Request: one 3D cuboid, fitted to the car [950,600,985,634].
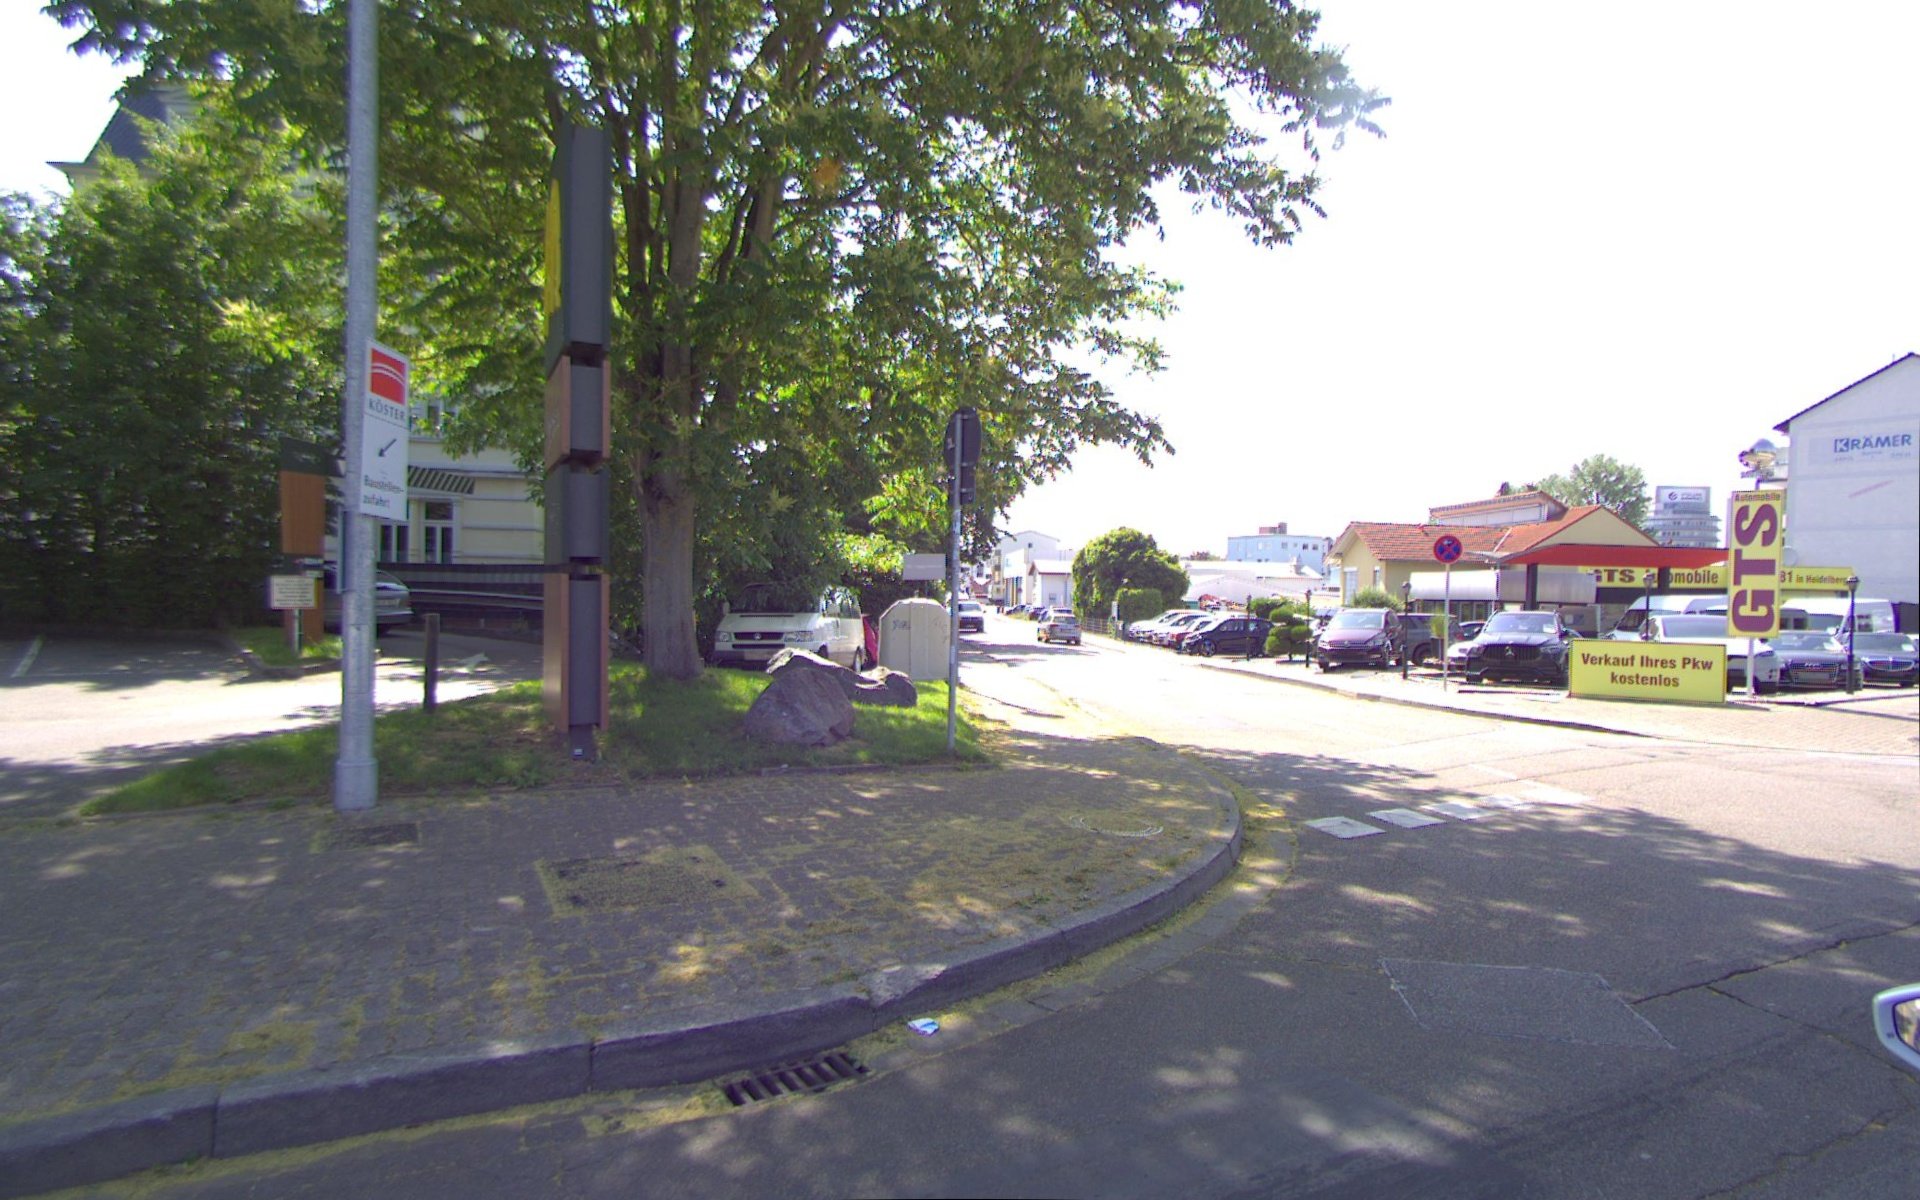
[{"bbox_3d":[0.478,1.111,65.307,2.001,2.084,3.999,1,-1,-3],"label":"car"}]

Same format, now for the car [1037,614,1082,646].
[{"bbox_3d":[4.993,1.491,50.871,1.650,1.513,4.605,1,0,-2],"label":"car"}]

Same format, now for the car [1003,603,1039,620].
[{"bbox_3d":[6.816,1.300,112.631,3.767,1.787,1.782,2,0,-2],"label":"car"}]

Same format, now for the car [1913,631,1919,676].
[{"bbox_3d":[32.540,1.758,32.302,1.642,1.492,3.995,-1,-2,27],"label":"car"}]

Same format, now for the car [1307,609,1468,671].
[{"bbox_3d":[14.273,1.305,33.845,4.796,1.867,2.163,1,0,21],"label":"car"}]

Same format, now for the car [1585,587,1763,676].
[{"bbox_3d":[24.420,1.092,34.307,6.070,2.794,2.270,2,-1,-25],"label":"car"}]

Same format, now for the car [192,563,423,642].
[{"bbox_3d":[-13.369,-0.001,20.589,4.300,1.423,1.714,2,3,20],"label":"car"}]

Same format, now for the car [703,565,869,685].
[{"bbox_3d":[-3.057,0.525,18.684,1.854,1.945,4.529,-1,-3,6],"label":"car"}]

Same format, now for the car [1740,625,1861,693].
[{"bbox_3d":[20.065,1.373,24.138,1.811,1.492,3.988,-1,-2,34],"label":"car"}]

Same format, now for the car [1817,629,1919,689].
[{"bbox_3d":[24.655,1.550,27.148,1.812,1.492,3.988,-1,-2,34],"label":"car"}]

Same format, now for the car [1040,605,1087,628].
[{"bbox_3d":[8.895,1.399,86.487,3.767,1.787,1.855,2,0,-2],"label":"car"}]

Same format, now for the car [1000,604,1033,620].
[{"bbox_3d":[6.903,1.422,123.054,3.798,1.787,1.823,2,0,-2],"label":"car"}]

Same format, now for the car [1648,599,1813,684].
[{"bbox_3d":[23.547,1.267,30.682,4.764,2.381,2.237,3,-1,-28],"label":"car"}]

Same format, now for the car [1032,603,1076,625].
[{"bbox_3d":[8.595,1.275,92.309,3.767,1.787,1.782,2,0,-2],"label":"car"}]

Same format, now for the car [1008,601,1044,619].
[{"bbox_3d":[7.174,1.099,109.443,3.767,1.787,1.782,2,0,-2],"label":"car"}]

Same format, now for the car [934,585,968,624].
[{"bbox_3d":[-0.886,0.438,92.031,2.761,3.361,7.779,1,0,-3],"label":"car"}]

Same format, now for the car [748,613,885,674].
[{"bbox_3d":[-3.744,1.123,26.554,3.339,1.485,1.694,-1,0,1],"label":"car"}]

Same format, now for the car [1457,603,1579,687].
[{"bbox_3d":[12.991,1.031,23.265,2.015,1.729,4.302,1,-2,35],"label":"car"}]

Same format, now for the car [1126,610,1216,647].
[{"bbox_3d":[10.735,1.437,51.315,4.093,1.773,1.890,1,0,-6],"label":"car"}]

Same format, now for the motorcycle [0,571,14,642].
[{"bbox_3d":[-16.863,0.068,17.253,2.149,1.147,0.567,3,2,38],"label":"motorcycle"}]

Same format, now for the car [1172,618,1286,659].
[{"bbox_3d":[10.852,1.554,40.738,4.055,1.508,1.868,2,0,-6],"label":"car"}]

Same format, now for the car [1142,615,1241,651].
[{"bbox_3d":[10.590,1.499,46.186,4.042,1.508,1.868,2,0,-6],"label":"car"}]

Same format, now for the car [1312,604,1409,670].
[{"bbox_3d":[11.306,1.006,28.178,1.779,1.678,4.304,0,-1,32],"label":"car"}]

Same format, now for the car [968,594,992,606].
[{"bbox_3d":[3.605,0.035,180.531,3.928,1.935,1.811,2,1,-10],"label":"car"}]

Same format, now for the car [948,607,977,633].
[{"bbox_3d":[0.156,1.388,70.071,1.802,1.714,3.999,1,0,-3],"label":"car"}]

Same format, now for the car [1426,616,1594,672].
[{"bbox_3d":[16.768,1.336,30.652,4.615,1.596,1.906,1,0,-19],"label":"car"}]

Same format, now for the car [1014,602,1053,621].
[{"bbox_3d":[7.624,1.217,104.159,3.767,1.787,1.782,2,0,-2],"label":"car"}]

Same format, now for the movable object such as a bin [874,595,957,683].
[{"bbox_3d":[-0.868,0.717,18.884,1.428,1.546,1.774,-1,-1,-7],"label":"movable object such as a bin"}]

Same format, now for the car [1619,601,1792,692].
[{"bbox_3d":[15.896,1.034,21.716,1.944,1.729,4.663,0,-4,23],"label":"car"}]

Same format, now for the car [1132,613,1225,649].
[{"bbox_3d":[10.573,1.491,48.766,4.047,1.624,1.868,2,0,-6],"label":"car"}]

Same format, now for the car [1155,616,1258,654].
[{"bbox_3d":[10.722,1.497,43.834,3.982,1.508,1.797,2,0,-6],"label":"car"}]

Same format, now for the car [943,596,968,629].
[{"bbox_3d":[-0.379,1.011,80.504,1.802,2.537,3.999,1,0,-3],"label":"car"}]

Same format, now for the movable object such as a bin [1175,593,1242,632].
[{"bbox_3d":[19.644,0.979,79.507,4.738,2.945,2.000,1,0,0],"label":"movable object such as a bin"}]

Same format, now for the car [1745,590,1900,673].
[{"bbox_3d":[29.217,1.078,33.980,5.655,2.462,2.233,3,3,-32],"label":"car"}]

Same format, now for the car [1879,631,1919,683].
[{"bbox_3d":[29.244,1.686,30.113,1.755,1.492,3.991,-1,-3,32],"label":"car"}]
